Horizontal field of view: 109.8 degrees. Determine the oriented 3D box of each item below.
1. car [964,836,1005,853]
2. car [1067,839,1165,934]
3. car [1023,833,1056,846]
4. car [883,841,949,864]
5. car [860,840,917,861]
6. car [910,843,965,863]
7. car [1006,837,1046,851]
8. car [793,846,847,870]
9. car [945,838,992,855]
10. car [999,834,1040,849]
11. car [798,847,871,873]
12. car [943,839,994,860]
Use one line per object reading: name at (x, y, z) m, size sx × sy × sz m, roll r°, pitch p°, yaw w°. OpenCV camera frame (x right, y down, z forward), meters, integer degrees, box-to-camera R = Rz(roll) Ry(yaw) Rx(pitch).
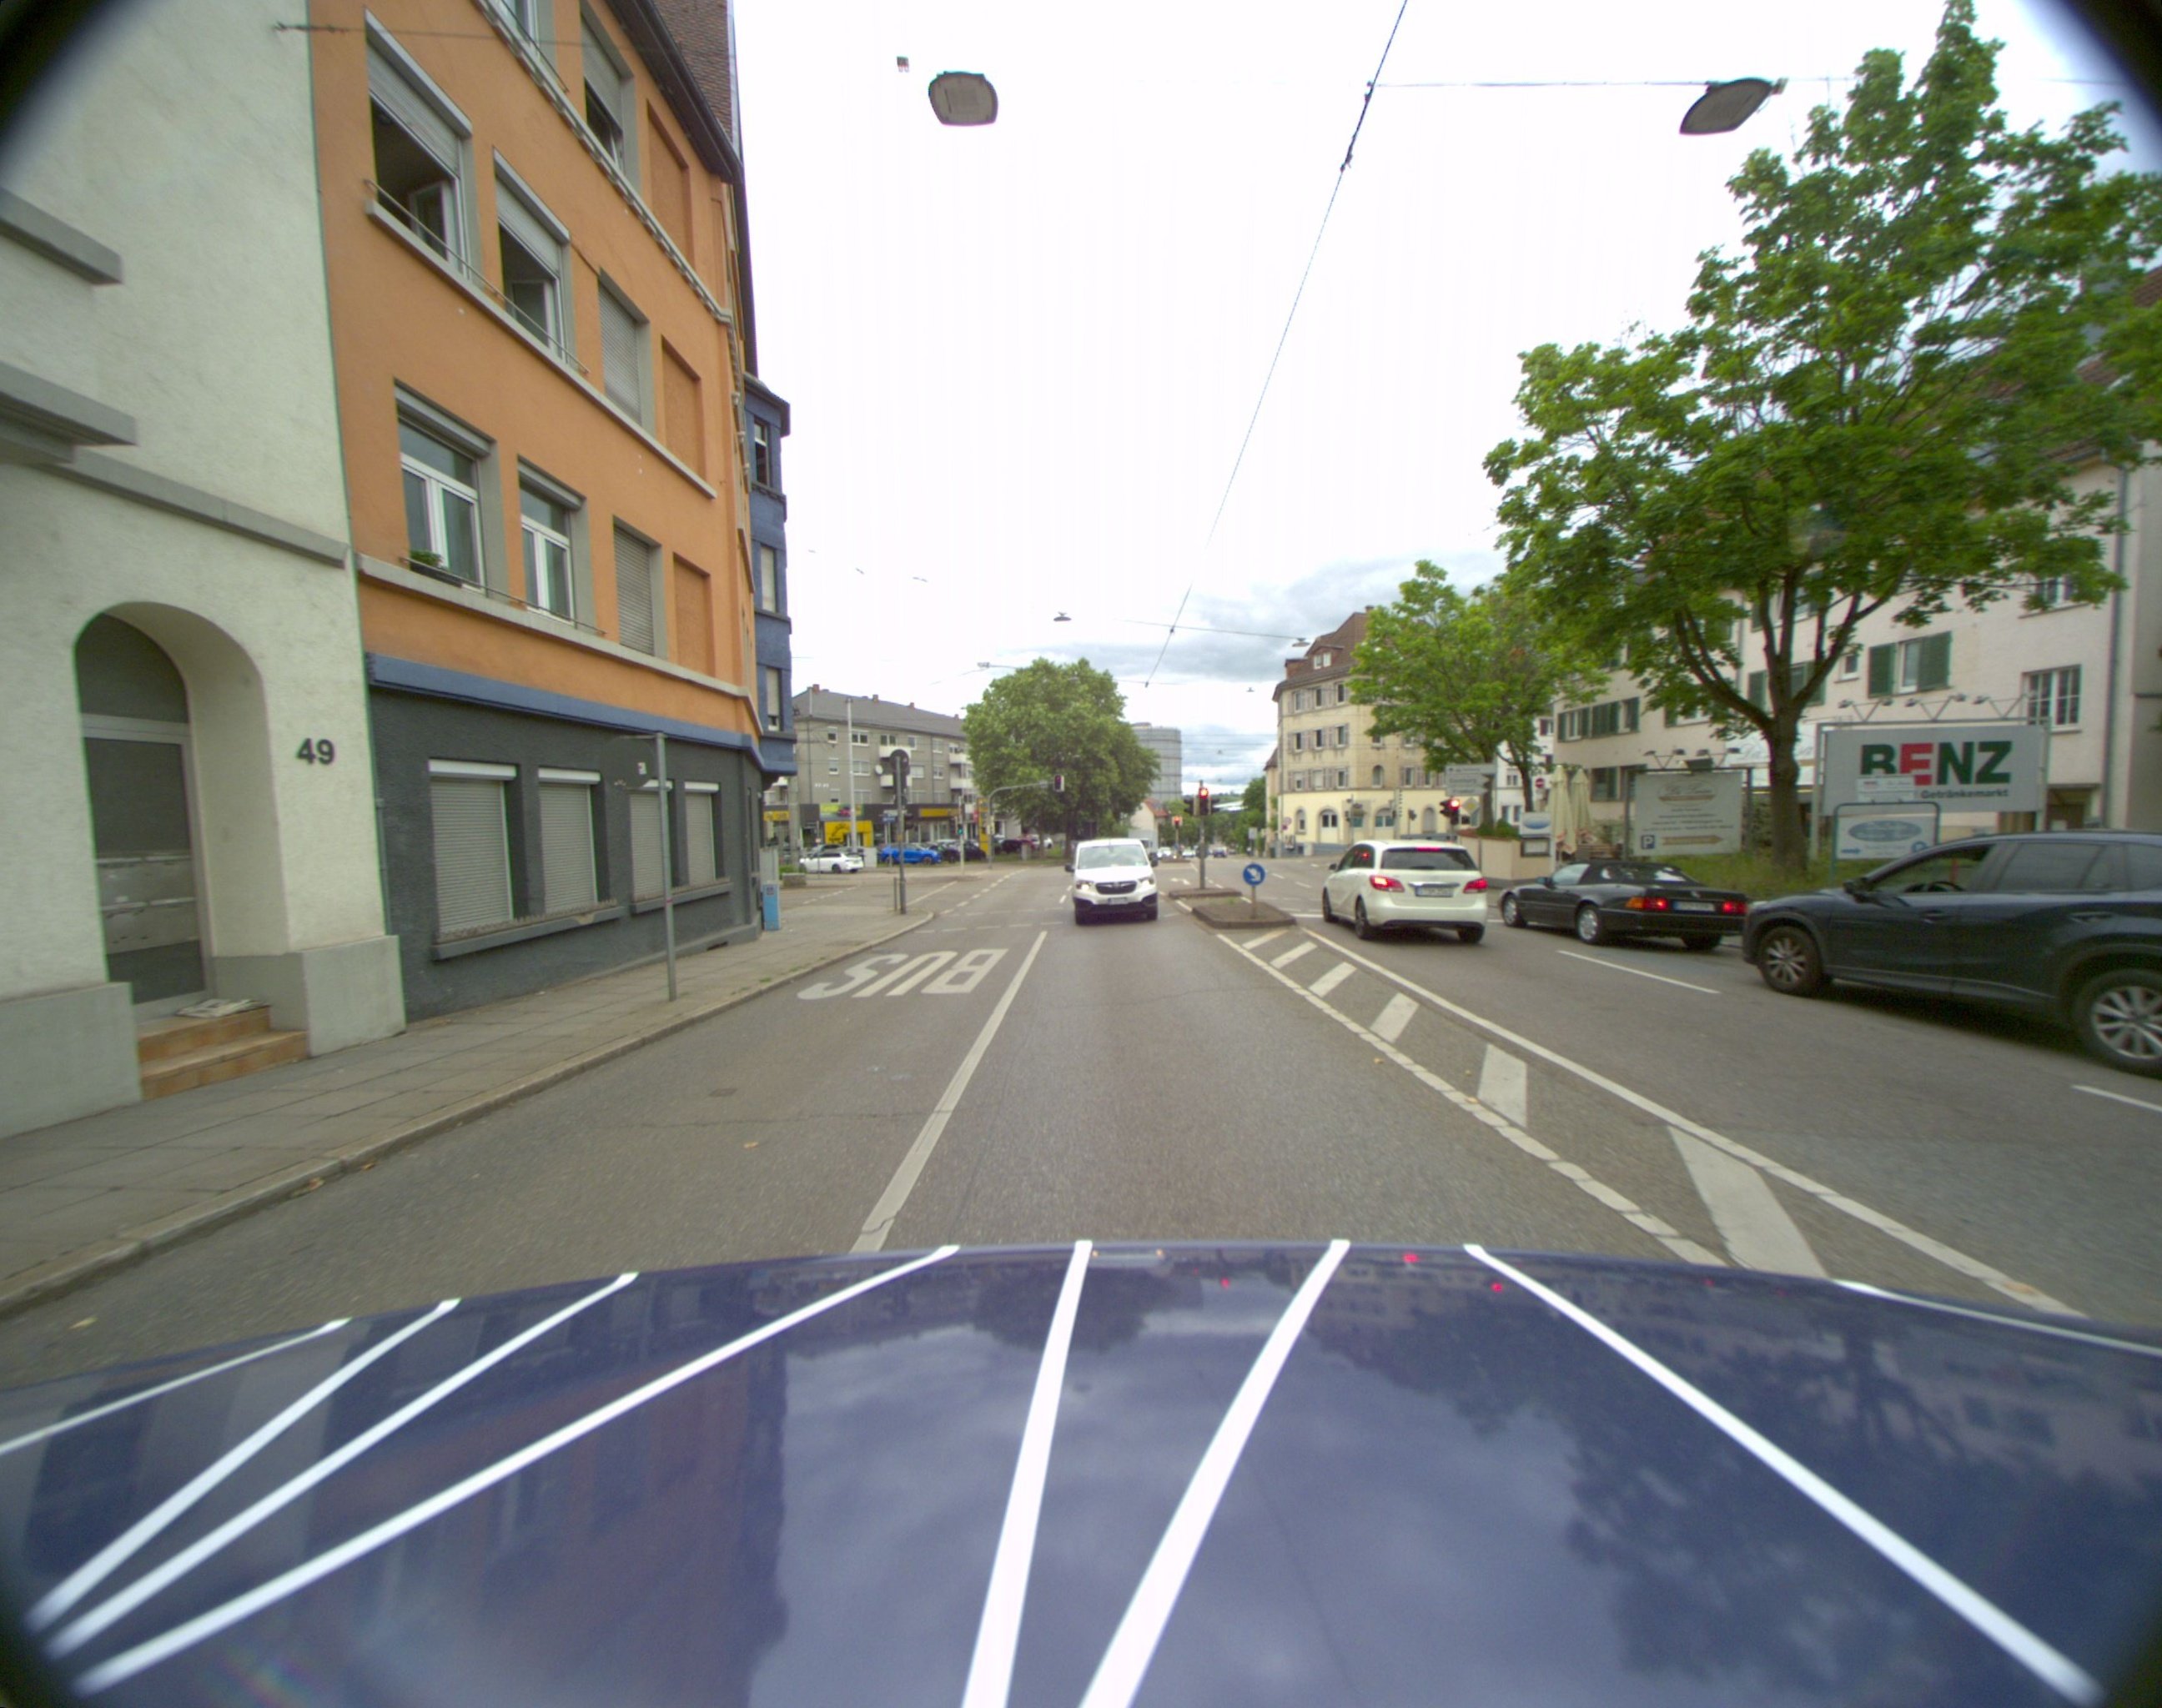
car at (-9.372, -0.914, 73.697) m, size 3.616 × 1.544 × 1.617 m, roll -2°, pitch 2°, yaw -27°
car at (0.674, 0.663, 17.841) m, size 1.888 × 1.827 × 4.676 m, roll -3°, pitch 0°, yaw -1°
car at (-4.948, -1.723, 91.186) m, size 3.624 × 1.496 × 1.787 m, roll -2°, pitch 2°, yaw -41°
car at (-11.709, -0.115, 53.991) m, size 4.255 × 1.568 × 1.829 m, roll 0°, pitch 1°, yaw 2°
car at (-15.287, -0.274, 60.399) m, size 3.993 × 1.541 × 1.864 m, roll 0°, pitch 2°, yaw 12°
car at (-10.984, -0.102, 58.282) m, size 1.824 × 1.468 × 4.008 m, roll 1°, pitch 1°, yaw 34°
car at (-6.169, -1.089, 84.836) m, size 4.007 × 1.496 × 1.858 m, roll -2°, pitch 2°, yaw -33°
car at (-20.333, 0.251, 59.395) m, size 1.709 × 1.770 × 4.252 m, roll 1°, pitch 2°, yaw 21°
car at (-10.537, -0.690, 71.382) m, size 3.994 × 1.541 × 1.864 m, roll -1°, pitch 2°, yaw 8°
car at (-6.604, -1.329, 81.754) m, size 4.007 × 1.496 × 1.858 m, roll -2°, pitch 2°, yaw -36°
car at (-15.869, 0.358, 48.896) m, size 4.131 × 1.526 × 1.921 m, roll 1°, pitch 2°, yaw 21°
car at (-9.438, -0.392, 63.821) m, size 1.823 × 1.599 × 4.178 m, roll 7°, pitch 4°, yaw 33°
